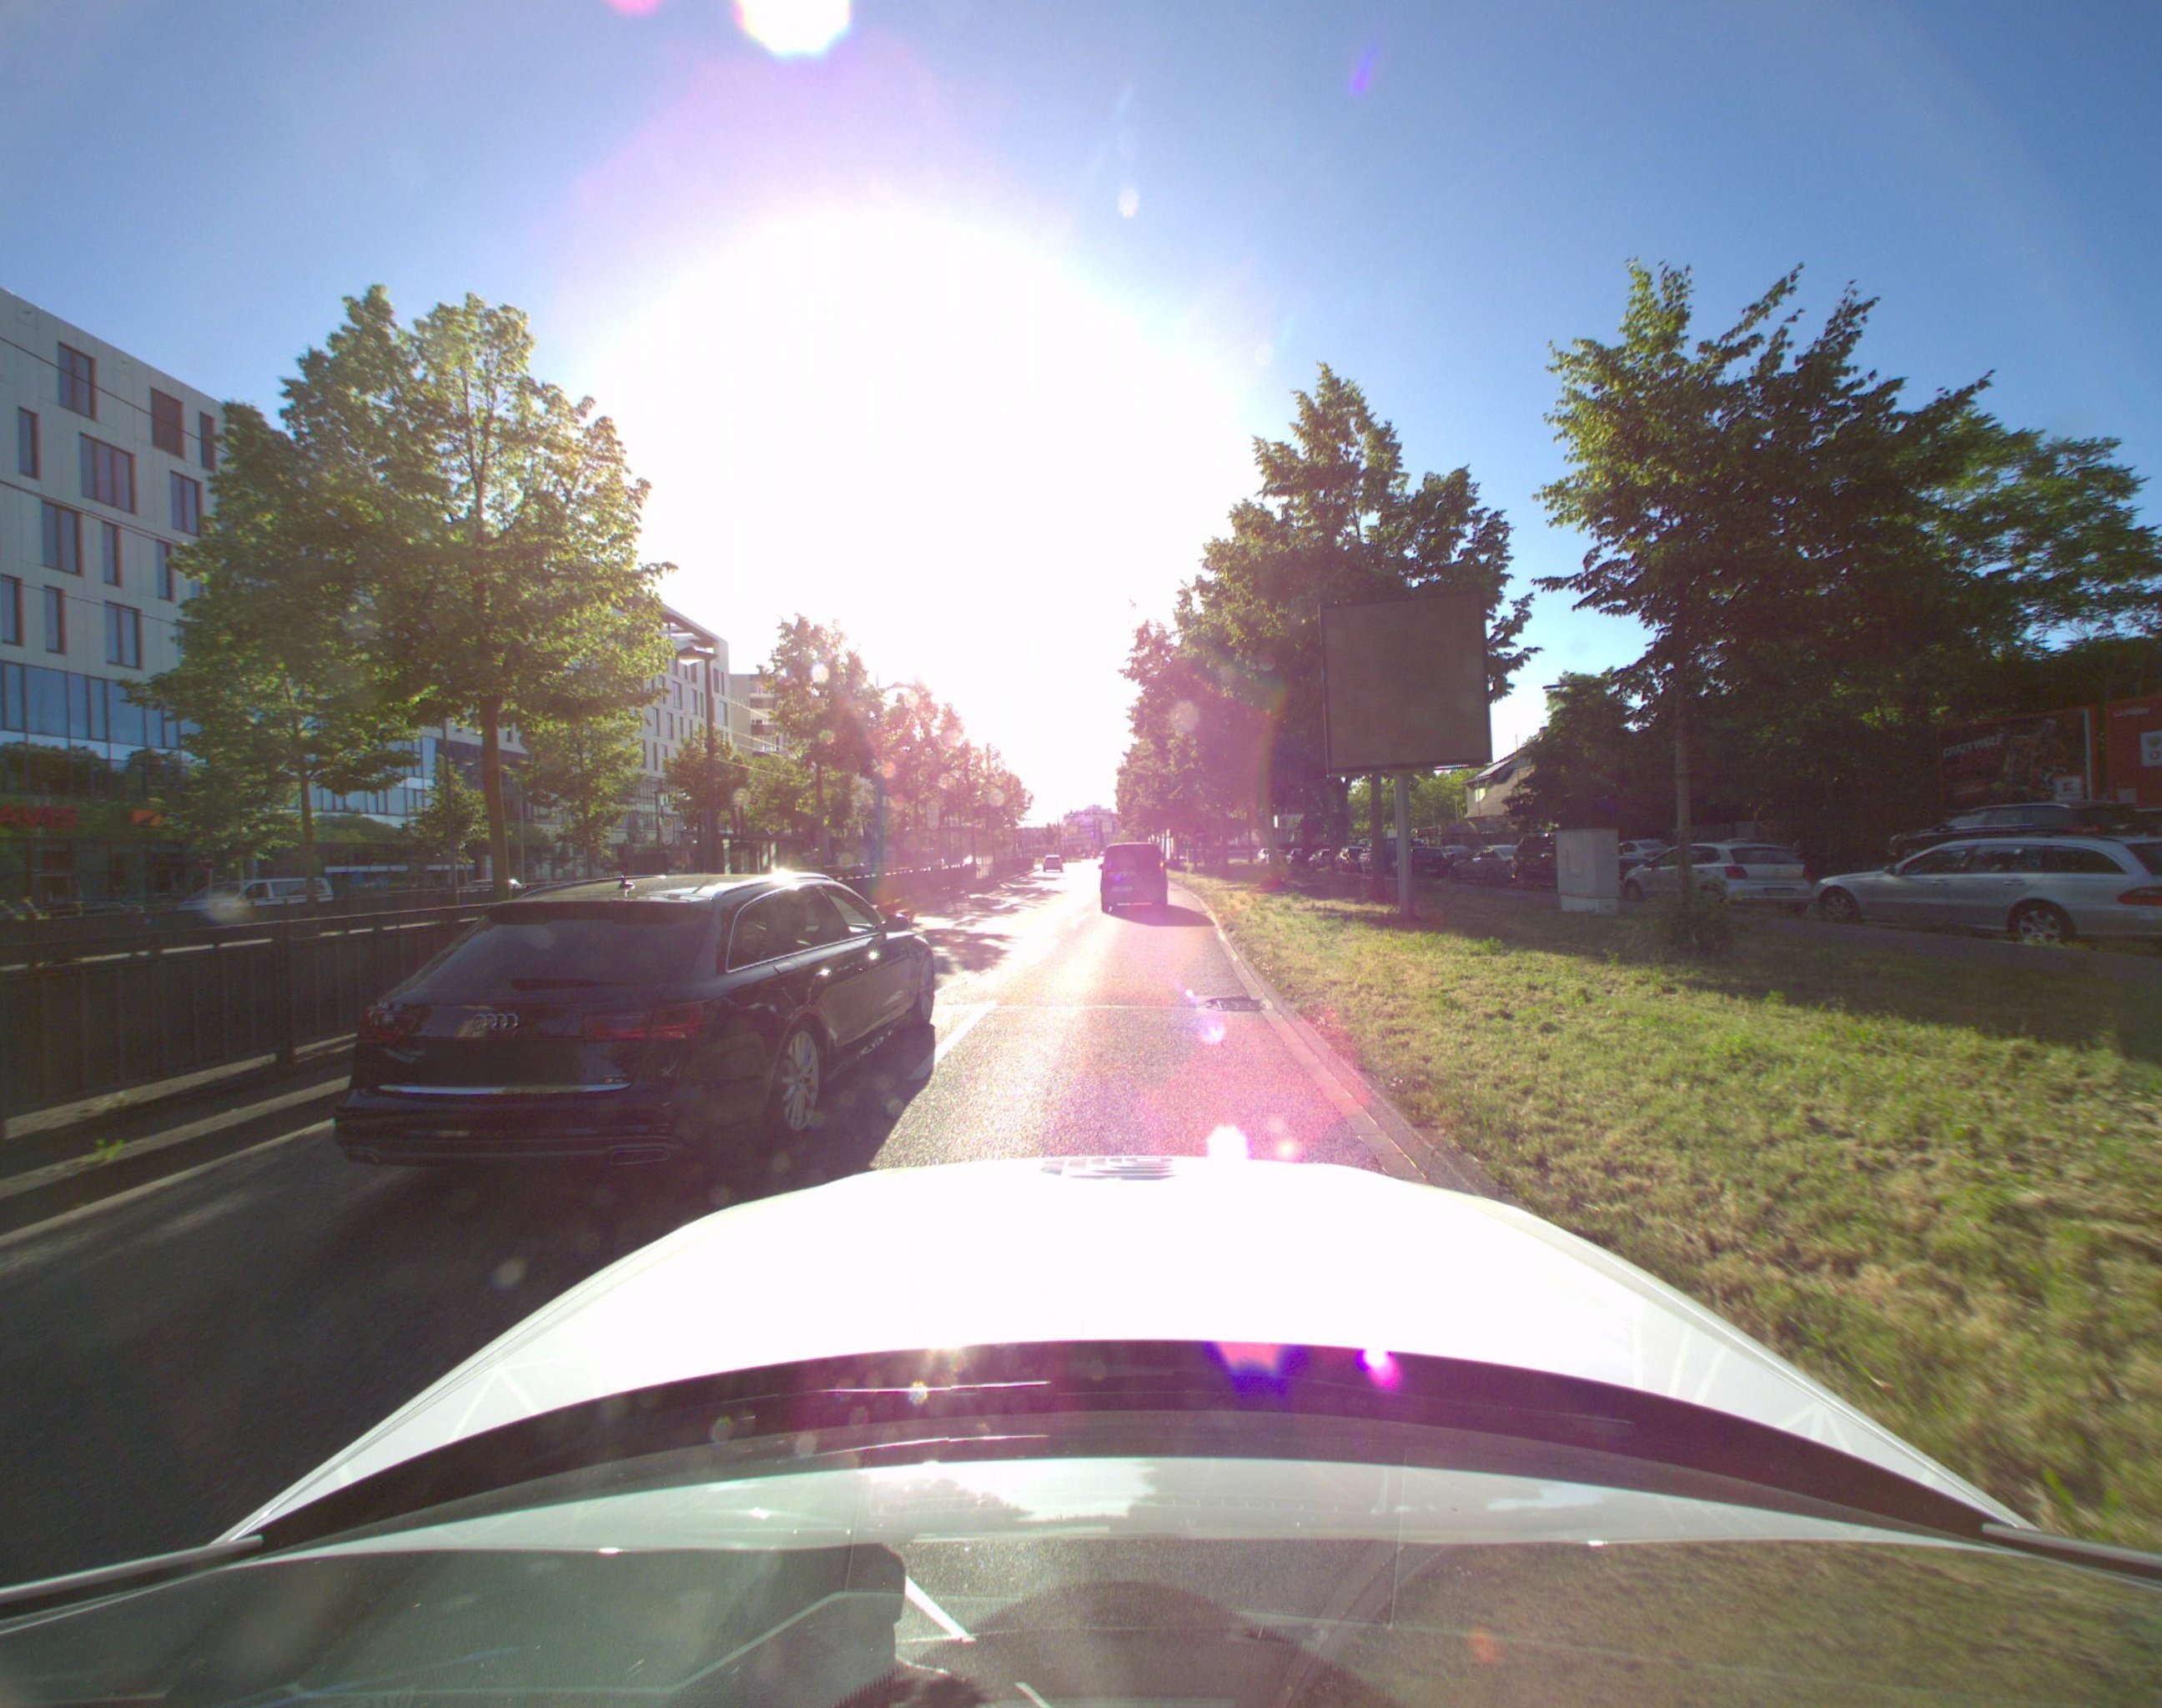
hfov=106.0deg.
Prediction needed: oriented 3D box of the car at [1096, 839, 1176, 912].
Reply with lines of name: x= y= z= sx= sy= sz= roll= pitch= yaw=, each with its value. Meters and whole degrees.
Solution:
car: x=1.439 y=0.551 z=22.654 sx=1.804 sy=1.838 sz=3.996 roll=0 pitch=-1 yaw=-2

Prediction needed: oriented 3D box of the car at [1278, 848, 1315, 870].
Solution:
car: x=17.342 y=0.430 z=65.642 sx=1.865 sy=1.684 sz=3.999 roll=0 pitch=-1 yaw=0

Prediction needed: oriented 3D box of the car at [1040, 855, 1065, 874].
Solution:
car: x=-2.435 y=0.935 z=71.253 sx=1.986 sy=1.618 sz=4.000 roll=0 pitch=-1 yaw=1

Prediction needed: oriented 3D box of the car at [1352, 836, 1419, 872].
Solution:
car: x=14.929 y=0.005 z=40.186 sx=1.865 sy=1.684 sz=4.000 roll=0 pitch=-1 yaw=1

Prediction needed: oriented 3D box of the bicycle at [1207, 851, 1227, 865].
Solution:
bicycle: x=12.242 y=0.352 z=73.342 sx=1.772 sy=1.268 sz=0.479 roll=-1 pitch=0 yaw=1

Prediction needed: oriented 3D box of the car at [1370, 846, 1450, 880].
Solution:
car: x=14.068 y=0.378 z=35.087 sx=1.865 sy=1.367 sz=4.000 roll=0 pitch=-1 yaw=1

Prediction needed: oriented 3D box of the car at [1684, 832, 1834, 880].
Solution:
car: x=23.031 y=0.083 z=27.893 sx=1.723 sy=1.371 sz=4.319 roll=-4 pitch=-1 yaw=5

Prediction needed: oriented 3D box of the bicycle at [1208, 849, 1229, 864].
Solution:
bicycle: x=12.227 y=0.208 z=72.248 sx=1.772 sy=1.268 sz=0.479 roll=0 pitch=-1 yaw=1

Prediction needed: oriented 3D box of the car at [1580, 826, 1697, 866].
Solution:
car: x=23.756 y=-0.315 z=34.977 sx=1.864 sy=1.483 sz=4.693 roll=-4 pitch=-1 yaw=2

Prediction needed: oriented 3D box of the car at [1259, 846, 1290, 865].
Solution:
car: x=17.681 y=0.190 z=74.583 sx=1.865 sy=1.684 sz=3.999 roll=0 pitch=-1 yaw=0

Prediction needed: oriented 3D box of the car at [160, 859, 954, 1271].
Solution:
car: x=-2.367 y=0.803 z=5.577 sx=1.945 sy=1.480 sz=5.088 roll=-1 pitch=0 yaw=3

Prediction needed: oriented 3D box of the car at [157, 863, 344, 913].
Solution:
car: x=-31.114 y=1.225 z=30.780 sx=1.986 sy=1.714 sz=4.854 roll=0 pitch=-1 yaw=2

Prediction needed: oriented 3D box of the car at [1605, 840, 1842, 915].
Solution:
car: x=13.197 y=0.453 z=17.097 sx=1.865 sy=1.389 sz=4.000 roll=0 pitch=-1 yaw=1

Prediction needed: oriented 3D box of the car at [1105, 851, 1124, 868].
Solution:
car: x=4.046 y=0.661 z=98.737 sx=2.261 sy=2.013 sz=4.712 roll=-2 pitch=0 yaw=2

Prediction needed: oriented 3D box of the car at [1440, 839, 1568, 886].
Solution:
car: x=14.234 y=0.288 z=27.780 sx=1.865 sy=1.434 sz=4.902 roll=0 pitch=-1 yaw=1

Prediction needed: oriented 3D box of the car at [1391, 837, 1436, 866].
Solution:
car: x=25.807 y=-0.162 z=63.351 sx=1.985 sy=2.014 sz=4.003 roll=-3 pitch=-1 yaw=3

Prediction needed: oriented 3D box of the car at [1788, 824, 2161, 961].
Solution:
car: x=13.004 y=0.439 z=11.508 sx=1.863 sy=1.524 sz=5.061 roll=0 pitch=-1 yaw=4

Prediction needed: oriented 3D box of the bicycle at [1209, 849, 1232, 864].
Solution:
bicycle: x=12.194 y=0.218 z=71.259 sx=1.910 sy=1.268 sz=0.479 roll=-1 pitch=0 yaw=1

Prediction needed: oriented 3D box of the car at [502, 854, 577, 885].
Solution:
car: x=-37.170 y=1.049 z=56.016 sx=1.986 sy=2.014 sz=4.565 roll=0 pitch=-1 yaw=2

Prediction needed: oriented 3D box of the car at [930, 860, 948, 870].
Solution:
car: x=-24.360 y=1.886 z=139.727 sx=1.984 sy=1.765 sz=4.005 roll=0 pitch=-1 yaw=5

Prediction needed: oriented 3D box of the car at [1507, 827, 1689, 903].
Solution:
car: x=13.686 y=0.285 z=21.992 sx=1.865 sy=1.820 sz=4.893 roll=0 pitch=-1 yaw=1

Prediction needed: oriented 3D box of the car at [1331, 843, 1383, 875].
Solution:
car: x=15.588 y=0.288 z=46.176 sx=1.862 sy=1.684 sz=4.005 roll=0 pitch=-1 yaw=4

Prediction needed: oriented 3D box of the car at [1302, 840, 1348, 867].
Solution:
car: x=16.575 y=-0.007 z=55.447 sx=1.865 sy=1.684 sz=3.999 roll=-3 pitch=-1 yaw=0

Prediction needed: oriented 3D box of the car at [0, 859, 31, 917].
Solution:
car: x=-38.900 y=1.173 z=27.051 sx=1.986 sy=2.014 sz=4.565 roll=0 pitch=-1 yaw=2

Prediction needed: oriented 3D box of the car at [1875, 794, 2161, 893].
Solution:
car: x=22.273 y=-0.204 z=19.551 sx=1.864 sy=2.002 sz=4.693 roll=-3 pitch=-1 yaw=2

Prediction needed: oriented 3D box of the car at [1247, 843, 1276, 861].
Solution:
car: x=17.435 y=-0.206 z=79.028 sx=1.866 sy=1.684 sz=3.998 roll=0 pitch=-1 yaw=-1
